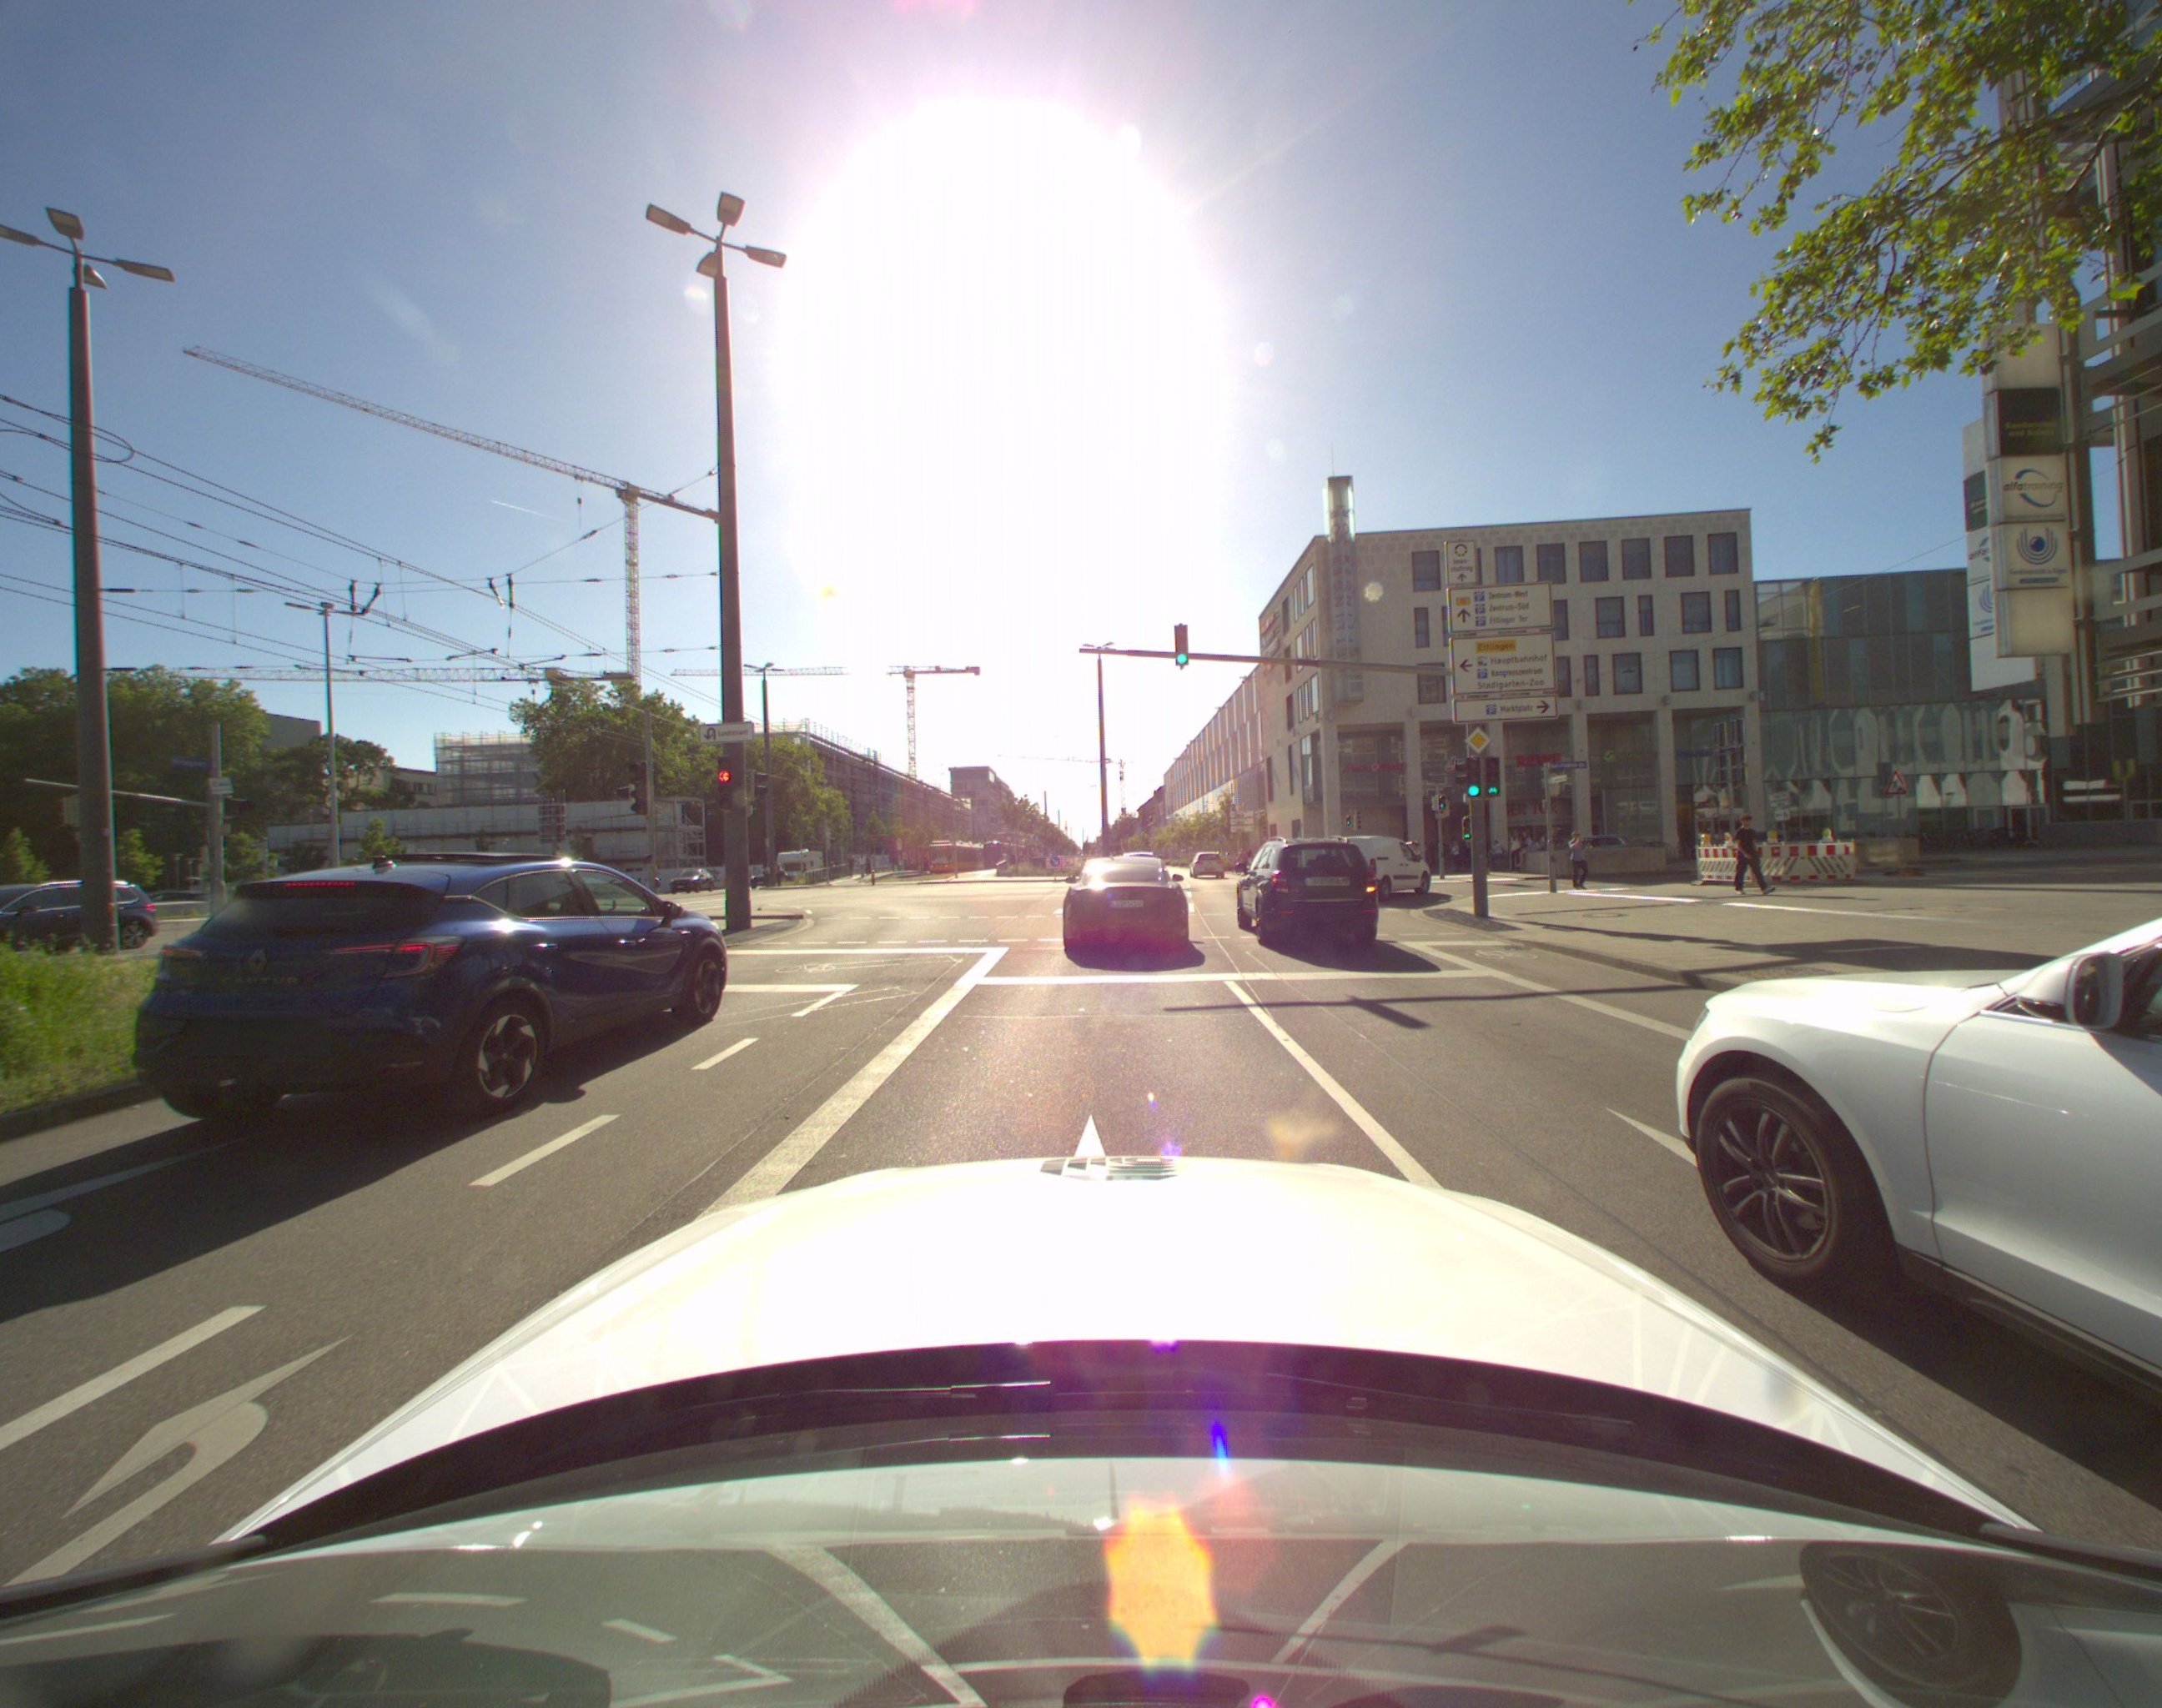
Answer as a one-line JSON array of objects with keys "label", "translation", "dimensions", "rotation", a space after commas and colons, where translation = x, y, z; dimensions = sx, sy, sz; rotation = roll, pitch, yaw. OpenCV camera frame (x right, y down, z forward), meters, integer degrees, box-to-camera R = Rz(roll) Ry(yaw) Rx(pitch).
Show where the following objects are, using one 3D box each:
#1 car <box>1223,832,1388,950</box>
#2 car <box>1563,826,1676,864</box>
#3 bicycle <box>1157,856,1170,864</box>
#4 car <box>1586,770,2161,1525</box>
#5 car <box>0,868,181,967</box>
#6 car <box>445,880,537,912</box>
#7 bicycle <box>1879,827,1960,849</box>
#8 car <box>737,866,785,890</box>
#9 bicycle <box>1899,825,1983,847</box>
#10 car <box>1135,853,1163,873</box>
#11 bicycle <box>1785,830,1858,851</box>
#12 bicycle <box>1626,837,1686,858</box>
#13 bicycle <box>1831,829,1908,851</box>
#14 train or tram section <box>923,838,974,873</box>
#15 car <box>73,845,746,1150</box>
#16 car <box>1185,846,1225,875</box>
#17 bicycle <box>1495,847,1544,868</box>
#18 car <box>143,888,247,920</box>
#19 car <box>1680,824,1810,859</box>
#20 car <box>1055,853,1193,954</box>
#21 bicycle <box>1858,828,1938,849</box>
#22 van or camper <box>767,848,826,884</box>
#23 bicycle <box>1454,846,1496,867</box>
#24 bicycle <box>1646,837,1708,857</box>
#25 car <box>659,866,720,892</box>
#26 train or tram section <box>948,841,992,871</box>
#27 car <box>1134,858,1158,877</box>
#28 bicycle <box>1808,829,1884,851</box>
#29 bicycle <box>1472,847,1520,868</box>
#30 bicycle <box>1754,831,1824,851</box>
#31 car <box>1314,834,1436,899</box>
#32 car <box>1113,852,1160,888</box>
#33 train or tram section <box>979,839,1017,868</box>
[{"label": "car", "translation": [3.706, 0.545, 14.252], "dimensions": [1.777, 1.699, 4.415], "rotation": [-2, 0, 2]}, {"label": "car", "translation": [25.925, -0.406, 39.315], "dimensions": [4.167, 1.613, 1.862], "rotation": [-2, -2, 3]}, {"label": "bicycle", "translation": [13.193, 0.969, 130.681], "dimensions": [1.881, 1.151, 0.669], "rotation": [-4, -1, -10]}, {"label": "car", "translation": [3.189, 0.602, 1.558], "dimensions": [1.812, 1.613, 4.415], "rotation": [-2, 0, 2]}, {"label": "car", "translation": [-23.015, 1.365, 17.918], "dimensions": [1.863, 1.955, 4.001], "rotation": [-2, 0, 1]}, {"label": "car", "translation": [-34.132, 2.393, 47.196], "dimensions": [1.975, 1.601, 4.024], "rotation": [-2, 0, 44]}, {"label": "bicycle", "translation": [46.350, -0.850, 45.111], "dimensions": [1.061, 1.094, 3.501], "rotation": [-2, 0, 4]}, {"label": "car", "translation": [-25.082, 1.836, 63.989], "dimensions": [1.939, 1.707, 4.366], "rotation": [-2, 0, 0]}, {"label": "bicycle", "translation": [47.517, -0.954, 45.083], "dimensions": [1.061, 1.094, 3.501], "rotation": [-2, 0, 4]}, {"label": "car", "translation": [4.749, 0.617, 57.349], "dimensions": [1.710, 1.320, 4.002], "rotation": [-2, 0, 2]}, {"label": "bicycle", "translation": [41.190, -0.722, 45.398], "dimensions": [1.061, 1.094, 3.501], "rotation": [-2, 0, 4]}, {"label": "bicycle", "translation": [32.376, -0.334, 45.929], "dimensions": [1.061, 1.094, 3.501], "rotation": [-2, 0, 4]}, {"label": "bicycle", "translation": [43.772, -0.765, 45.287], "dimensions": [1.061, 1.094, 3.501], "rotation": [-2, 0, 4]}, {"label": "train or tram section", "translation": [-13.406, 0.192, 83.795], "dimensions": [2.860, 3.310, 13.074], "rotation": [0, 0, 1]}, {"label": "car", "translation": [-4.367, 0.757, 6.318], "dimensions": [1.764, 1.588, 4.089], "rotation": [0, 0, 1]}, {"label": "car", "translation": [7.120, 0.365, 47.120], "dimensions": [1.777, 1.546, 4.041], "rotation": [-2, 0, 2]}, {"label": "bicycle", "translation": [24.915, 0.179, 46.361], "dimensions": [1.061, 1.094, 3.500], "rotation": [-2, 0, 3]}, {"label": "car", "translation": [-50.804, 2.866, 46.734], "dimensions": [3.966, 1.601, 2.004], "rotation": [-2, 0, 6]}, {"label": "car", "translation": [31.690, -0.575, 38.958], "dimensions": [4.585, 1.421, 1.862], "rotation": [-3, -2, 3]}, {"label": "car", "translation": [0.719, 0.728, 14.146], "dimensions": [1.991, 1.434, 4.415], "rotation": [-1, 0, 2]}, {"label": "bicycle", "translation": [45.121, -0.832, 45.072], "dimensions": [1.061, 1.094, 3.501], "rotation": [-2, 0, 4]}, {"label": "van or camper", "translation": [-25.032, 1.021, 72.069], "dimensions": [2.597, 2.937, 7.340], "rotation": [-2, 0, 0]}, {"label": "bicycle", "translation": [22.602, 0.137, 46.782], "dimensions": [1.061, 1.094, 2.994], "rotation": [-2, 0, 3]}, {"label": "bicycle", "translation": [33.556, -0.379, 45.952], "dimensions": [1.061, 1.094, 3.501], "rotation": [-2, 0, 4]}, {"label": "car", "translation": [-27.953, 1.759, 58.274], "dimensions": [1.986, 1.707, 4.562], "rotation": [-2, 0, 2]}, {"label": "train or tram section", "translation": [-13.158, 0.199, 98.323], "dimensions": [2.838, 3.321, 15.968], "rotation": [-1, 0, 1]}, {"label": "car", "translation": [5.234, 1.062, 65.620], "dimensions": [1.710, 1.432, 4.002], "rotation": [-2, 0, 2]}, {"label": "bicycle", "translation": [42.332, -0.755, 45.154], "dimensions": [1.061, 1.094, 3.501], "rotation": [-2, 0, 4]}, {"label": "bicycle", "translation": [23.771, 0.200, 46.740], "dimensions": [1.061, 1.094, 3.500], "rotation": [-2, 0, 3]}, {"label": "bicycle", "translation": [40.065, -0.712, 46.171], "dimensions": [1.061, 1.094, 3.501], "rotation": [-2, 0, 4]}, {"label": "car", "translation": [8.724, 0.323, 23.965], "dimensions": [1.768, 1.733, 4.188], "rotation": [-2, 0, 44]}, {"label": "car", "translation": [2.190, 0.610, 32.916], "dimensions": [1.710, 1.320, 4.002], "rotation": [-2, 0, 2]}, {"label": "train or tram section", "translation": [-10.098, -0.081, 100.832], "dimensions": [2.860, 3.279, 15.187], "rotation": [0, 0, 1]}]
